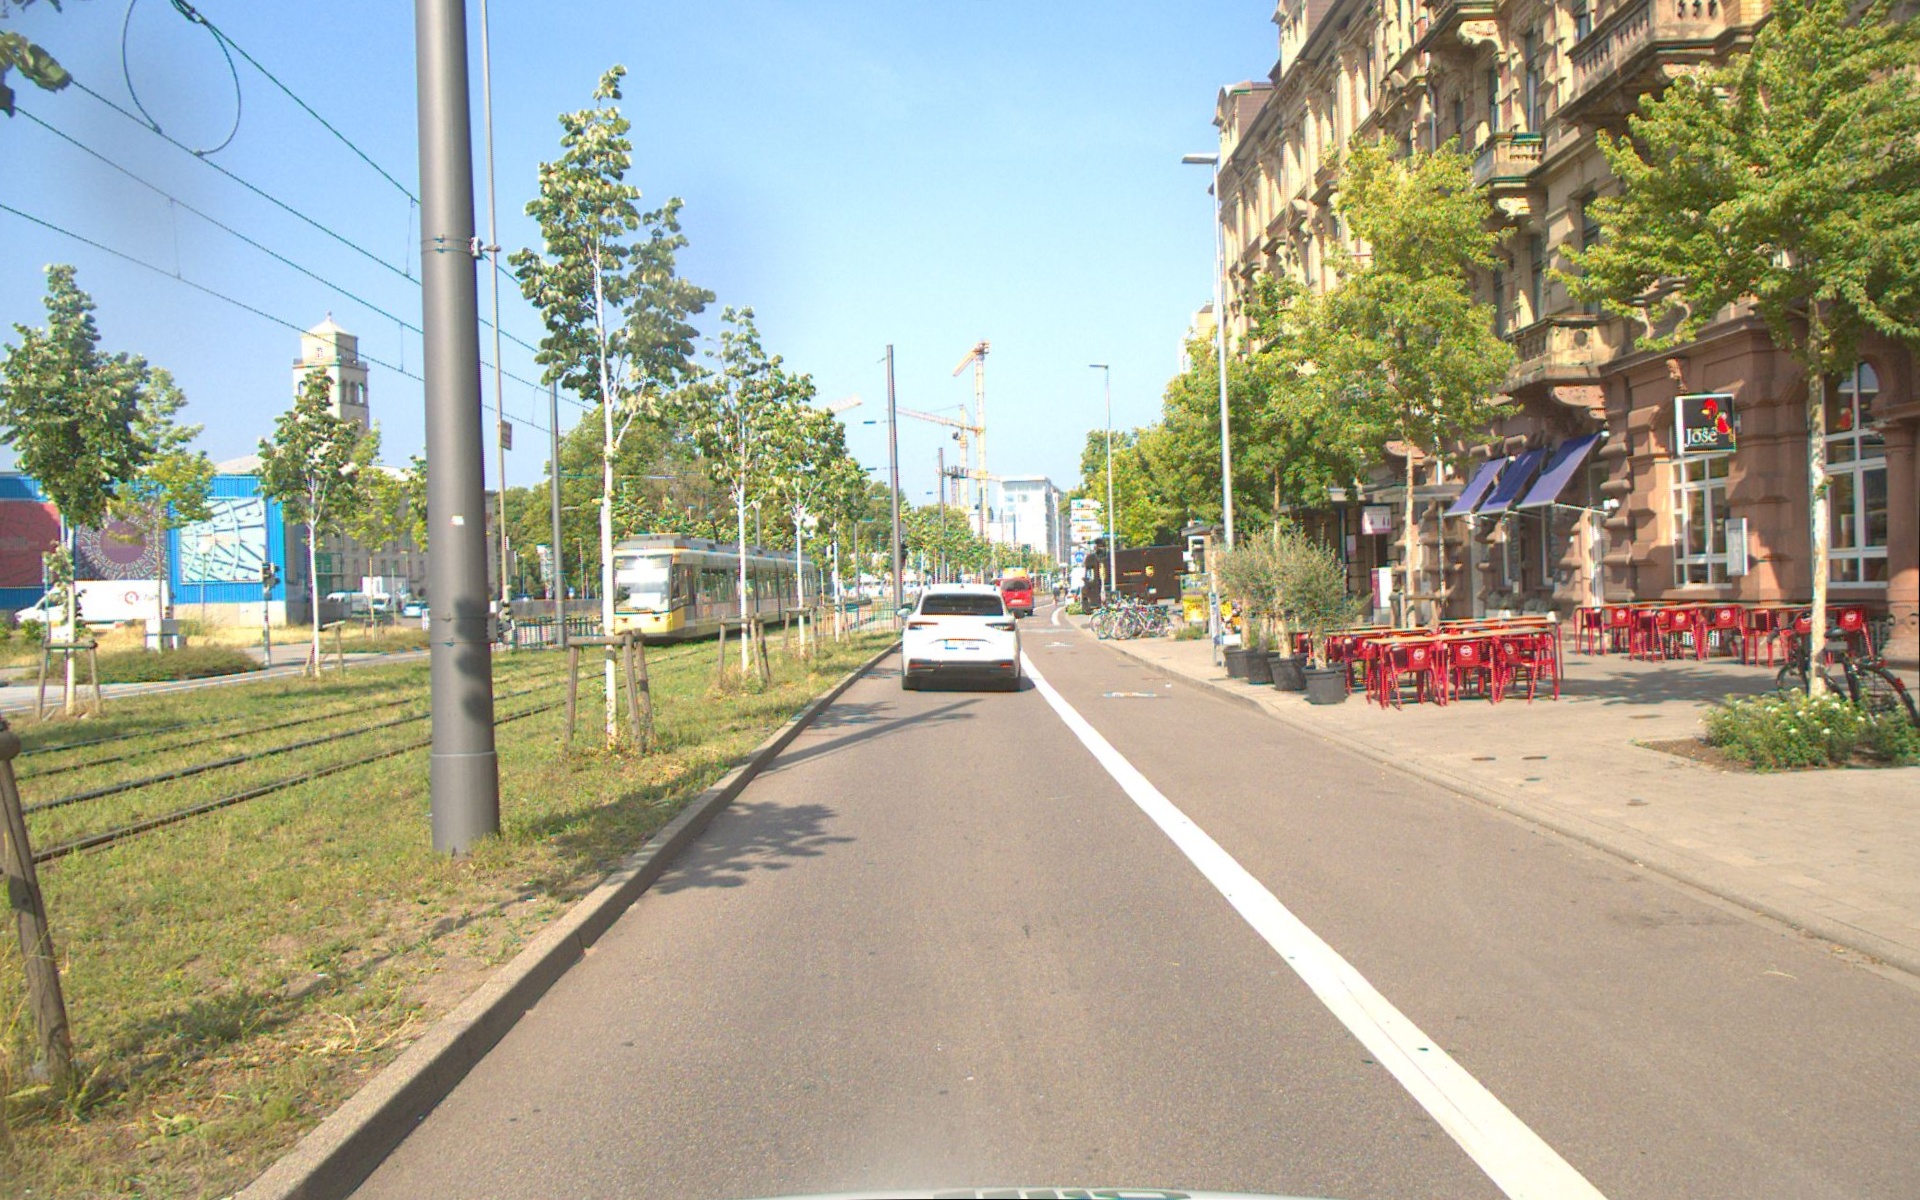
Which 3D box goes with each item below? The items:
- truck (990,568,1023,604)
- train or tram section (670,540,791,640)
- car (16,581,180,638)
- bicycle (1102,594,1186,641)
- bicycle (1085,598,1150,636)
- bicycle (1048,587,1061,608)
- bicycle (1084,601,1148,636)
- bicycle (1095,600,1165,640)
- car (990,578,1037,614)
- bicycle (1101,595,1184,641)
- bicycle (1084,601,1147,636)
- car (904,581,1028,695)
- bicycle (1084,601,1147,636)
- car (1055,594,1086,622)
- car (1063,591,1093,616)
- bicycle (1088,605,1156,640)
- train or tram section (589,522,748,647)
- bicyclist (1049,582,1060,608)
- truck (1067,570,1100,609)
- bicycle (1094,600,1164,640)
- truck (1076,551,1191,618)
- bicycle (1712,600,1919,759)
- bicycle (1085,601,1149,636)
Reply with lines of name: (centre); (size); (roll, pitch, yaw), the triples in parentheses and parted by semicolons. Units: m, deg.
truck: (3.256, -0.975, 115.908); (2.167, 2.358, 5.891); (-2, 0, 1)
train or tram section: (-9.320, -0.360, 68.924); (2.838, 3.649, 12.935); (-2, 0, 1)
car: (-41.604, 0.480, 80.051); (6.779, 2.685, 2.497); (1, -1, -22)
bicycle: (5.051, 0.484, 45.538); (2.193, 1.123, 0.588); (-4, 0, 0)
bicycle: (4.777, 0.521, 50.313); (1.894, 1.030, 0.441); (-4, 0, 3)
bicycle: (7.217, -0.207, 126.640); (0.765, 1.522, 2.800); (-2, 0, 0)
bicycle: (4.828, 0.566, 51.239); (1.894, 0.962, 0.441); (-4, 0, 3)
bicycle: (4.822, 0.559, 46.979); (1.895, 1.003, 0.471); (-4, 0, 0)
car: (2.659, -0.194, 83.128); (1.954, 1.713, 4.366); (-2, 0, -3)
bicycle: (5.068, 0.488, 46.094); (2.193, 1.123, 0.519); (-4, 0, 0)
bicycle: (4.891, 0.573, 52.065); (1.894, 0.962, 0.429); (-4, 0, 3)
car: (0.050, 0.553, 26.205); (1.780, 1.617, 4.405); (-1, 0, -1)
bicycle: (4.851, 0.569, 51.622); (1.894, 0.962, 0.429); (-4, 0, 3)
car: (6.341, 0.439, 94.799); (1.615, 1.525, 3.529); (-2, 0, 6)
car: (7.086, 0.226, 99.032); (1.615, 1.409, 3.529); (-2, 0, 6)
bicycle: (4.759, 0.647, 48.659); (1.895, 0.889, 0.441); (-4, 0, 0)
train or tram section: (-9.618, -0.446, 56.242); (2.838, 3.649, 12.478); (-2, 0, 1)
bicyclist: (7.220, -0.385, 126.479); (0.694, 1.929, 0.843); (-2, 0, 0)
truck: (8.359, -0.739, 112.579); (1.952, 2.552, 4.001); (-2, 0, 1)
bicycle: (4.841, 0.563, 47.459); (1.915, 1.003, 0.471); (-4, 0, 0)
truck: (8.292, -0.706, 79.955); (2.475, 3.064, 6.912); (-2, 0, -22)
bicycle: (6.779, 0.584, 13.059); (0.584, 1.142, 1.923); (-2, 0, -7)
bicycle: (4.802, 0.563, 50.759); (1.894, 0.962, 0.441); (-4, 0, 3)
